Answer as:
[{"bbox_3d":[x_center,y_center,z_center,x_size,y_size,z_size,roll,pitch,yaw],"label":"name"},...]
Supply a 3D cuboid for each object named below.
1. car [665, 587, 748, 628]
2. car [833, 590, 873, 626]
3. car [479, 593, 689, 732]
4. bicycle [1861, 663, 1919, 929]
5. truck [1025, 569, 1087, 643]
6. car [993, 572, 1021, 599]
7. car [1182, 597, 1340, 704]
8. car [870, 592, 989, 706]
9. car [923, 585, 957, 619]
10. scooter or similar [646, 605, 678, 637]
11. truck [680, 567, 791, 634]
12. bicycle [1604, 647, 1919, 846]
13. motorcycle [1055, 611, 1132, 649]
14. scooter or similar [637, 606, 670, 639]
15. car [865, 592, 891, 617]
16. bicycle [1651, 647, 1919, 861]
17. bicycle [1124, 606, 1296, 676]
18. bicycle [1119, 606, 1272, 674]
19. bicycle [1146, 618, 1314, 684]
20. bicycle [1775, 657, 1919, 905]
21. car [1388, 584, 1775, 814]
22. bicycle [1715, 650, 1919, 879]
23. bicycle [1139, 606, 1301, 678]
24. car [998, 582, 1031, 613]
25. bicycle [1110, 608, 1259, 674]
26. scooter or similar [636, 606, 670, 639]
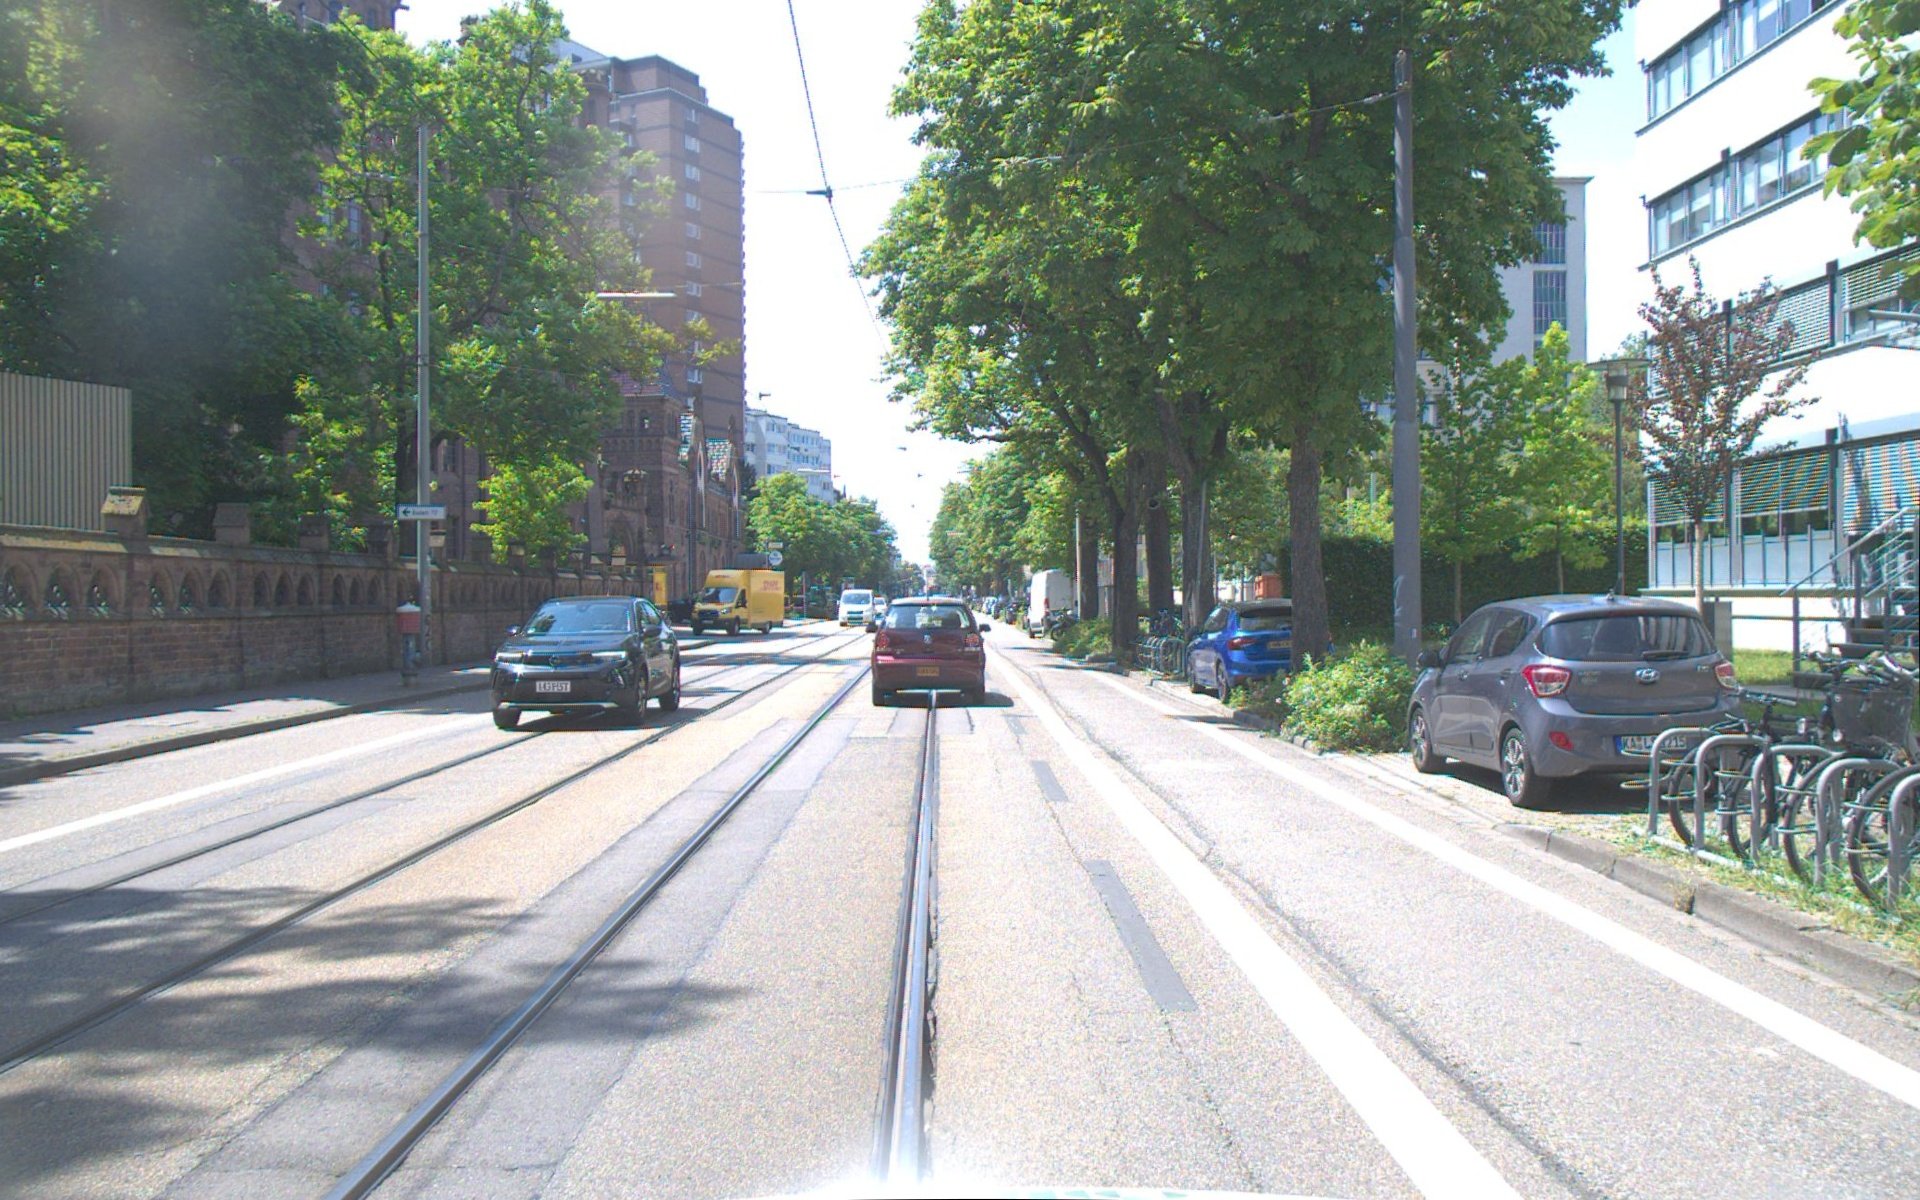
[{"bbox_3d":[-13.128,0.393,85.945,3.903,2.049,2.001,-1,0,3],"label":"car"},{"bbox_3d":[-5.780,0.416,89.886,1.953,1.887,4.681,-1,0,-1],"label":"car"},{"bbox_3d":[-4.573,0.700,20.667,1.734,1.542,3.999,-1,0,-1],"label":"car"},{"bbox_3d":[4.916,0.831,7.176,1.715,1.104,0.548,-1,0,-1],"label":"bicycle"},{"bbox_3d":[3.607,0.198,62.909,1.953,2.708,4.874,1,0,-1],"label":"truck"},{"bbox_3d":[3.037,-0.928,107.910,1.640,1.685,3.999,1,0,-1],"label":"car"},{"bbox_3d":[4.546,0.709,25.445,1.654,1.494,3.879,-1,0,-1],"label":"car"},{"bbox_3d":[-0.457,0.647,24.241,1.586,1.512,3.999,-1,0,-1],"label":"car"},{"bbox_3d":[-1.301,0.115,104.991,1.954,2.049,3.998,1,0,-3],"label":"car"},{"bbox_3d":[-10.886,0.764,60.346,1.073,1.175,0.524,1,0,-22],"label":"scooter or similar"},{"bbox_3d":[-9.928,0.000,74.015,2.319,2.835,7.325,-1,0,14],"label":"truck"},{"bbox_3d":[4.783,0.848,9.795,1.715,1.104,0.548,-1,0,-1],"label":"bicycle"},{"bbox_3d":[4.426,0.989,54.915,2.501,1.208,0.942,1,0,4],"label":"motorcycle"},{"bbox_3d":[-11.028,0.798,59.503,1.073,1.175,0.524,1,0,-22],"label":"scooter or similar"},{"bbox_3d":[-5.768,0.324,116.592,1.640,1.685,3.999,1,0,-1],"label":"car"},{"bbox_3d":[4.794,0.831,9.145,1.715,1.104,0.548,-1,0,-1],"label":"bicycle"},{"bbox_3d":[4.980,0.820,33.015,3.300,1.336,0.781,1,0,-3],"label":"bicycle"},{"bbox_3d":[4.815,0.811,33.878,3.008,1.336,0.781,1,0,-3],"label":"bicycle"},{"bbox_3d":[5.048,0.942,31.028,3.008,1.175,0.781,1,0,-3],"label":"bicycle"},{"bbox_3d":[4.879,0.834,7.889,1.715,1.104,0.548,-1,0,-1],"label":"bicycle"},{"bbox_3d":[4.790,0.683,13.300,1.654,1.529,3.627,-2,0,-1],"label":"car"},{"bbox_3d":[4.863,0.820,8.498,1.715,1.104,0.548,-1,0,-1],"label":"bicycle"},{"bbox_3d":[5.040,0.817,32.185,3.008,1.336,0.781,1,0,-3],"label":"bicycle"},{"bbox_3d":[3.092,-0.140,94.279,1.640,1.685,3.999,1,0,-1],"label":"car"},{"bbox_3d":[4.720,0.859,34.853,3.008,1.336,0.781,1,0,-3],"label":"bicycle"},{"bbox_3d":[-10.935,0.794,58.906,1.073,1.175,0.524,1,0,-22],"label":"scooter or similar"}]
